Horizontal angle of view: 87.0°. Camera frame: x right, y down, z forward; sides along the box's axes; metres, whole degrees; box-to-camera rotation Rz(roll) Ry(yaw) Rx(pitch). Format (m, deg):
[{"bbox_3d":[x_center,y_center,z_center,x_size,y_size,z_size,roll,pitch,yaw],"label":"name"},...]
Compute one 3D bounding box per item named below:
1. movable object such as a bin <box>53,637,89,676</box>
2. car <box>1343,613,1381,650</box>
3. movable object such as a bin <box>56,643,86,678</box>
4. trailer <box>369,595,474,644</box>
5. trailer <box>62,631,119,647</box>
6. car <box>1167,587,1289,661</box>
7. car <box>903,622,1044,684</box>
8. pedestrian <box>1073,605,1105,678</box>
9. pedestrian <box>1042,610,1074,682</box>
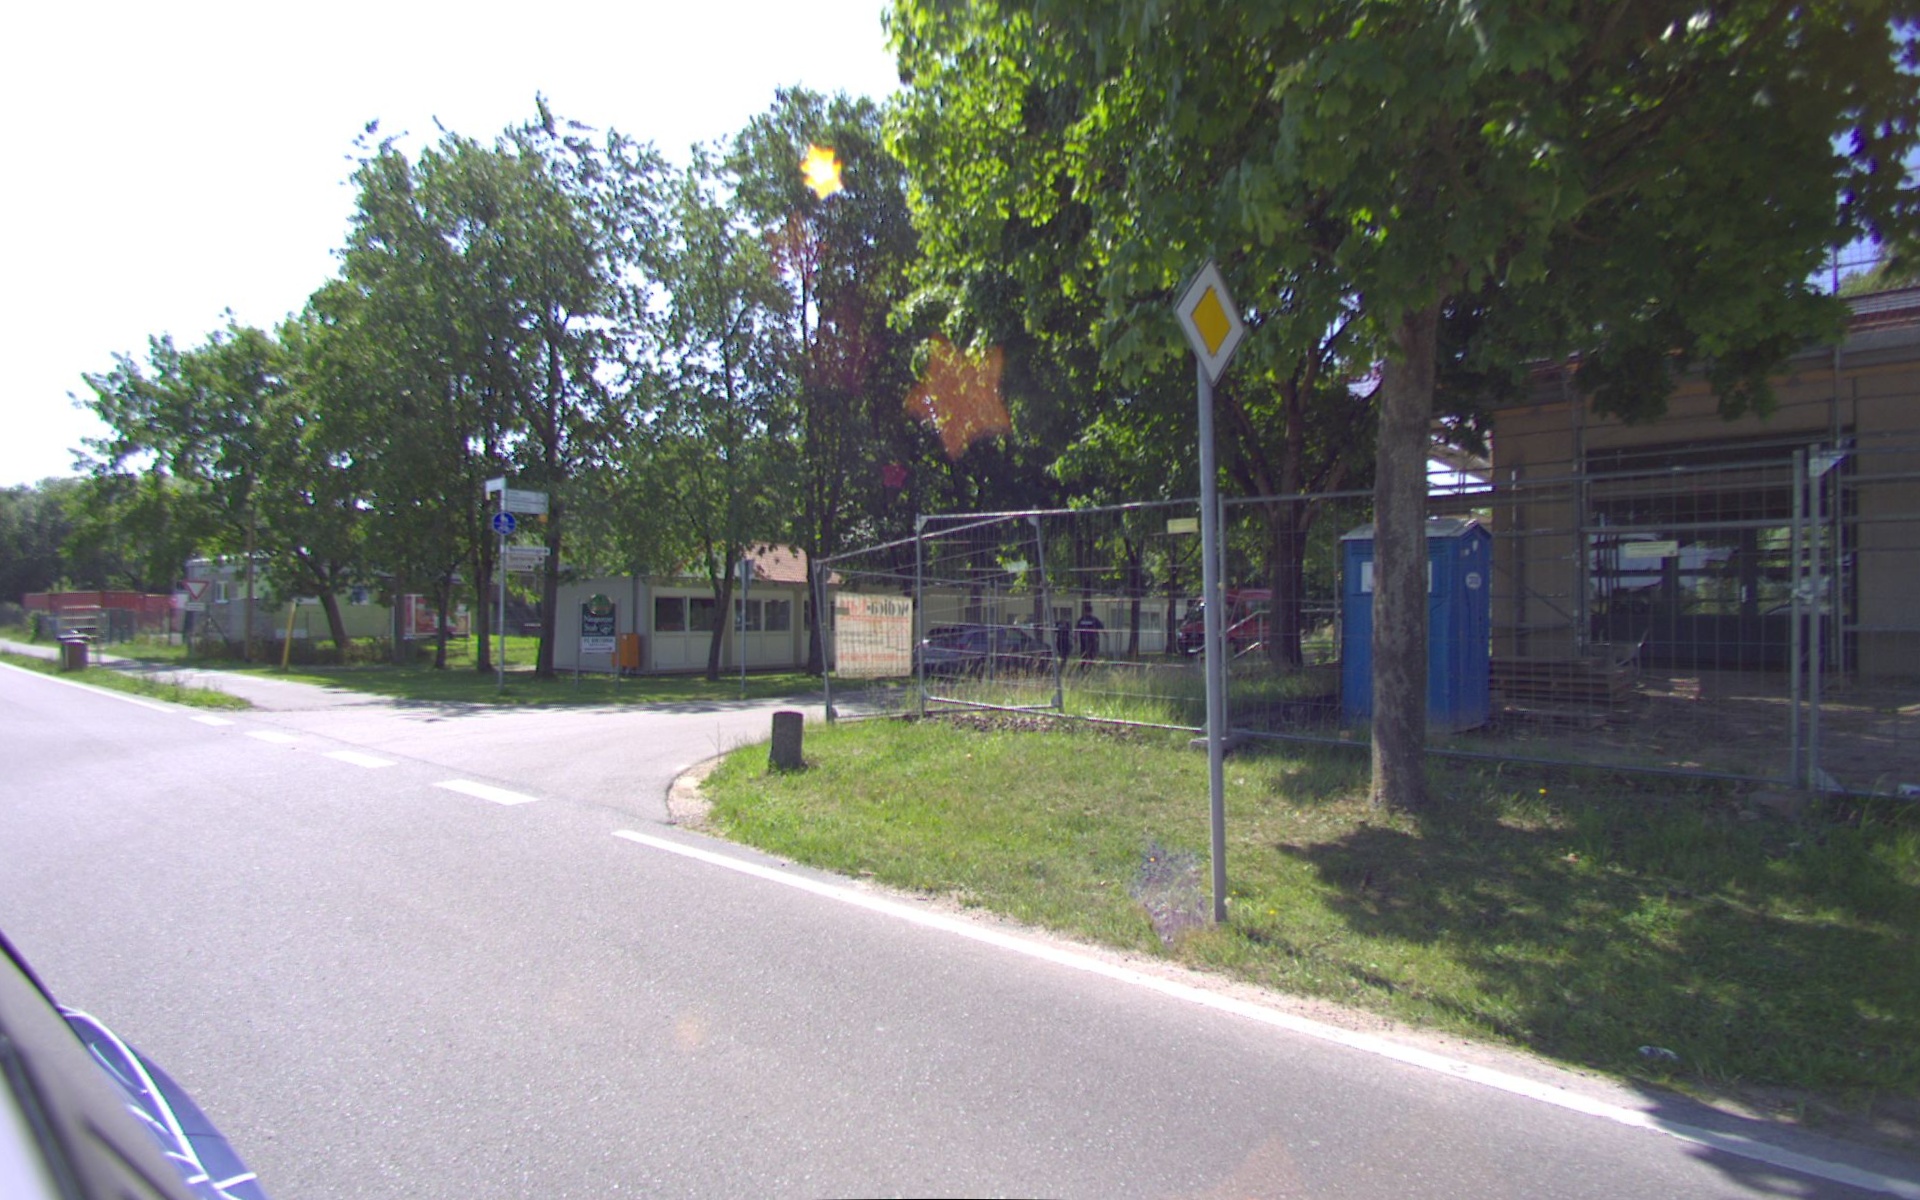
[{"bbox_3d":[-23.996,1.521,27.342,0.690,1.032,0.749,2,-2,-40],"label":"movable object such as a bin"},{"bbox_3d":[19.729,1.547,49.726,1.655,1.763,3.722,-1,-2,22],"label":"car"},{"bbox_3d":[-23.461,1.586,26.719,0.555,0.883,0.614,2,-2,-40],"label":"movable object such as a bin"},{"bbox_3d":[-26.042,0.978,49.097,1.820,2.295,4.196,-1,-2,28],"label":"trailer"},{"bbox_3d":[-47.292,2.112,55.019,3.351,0.873,1.616,-1,-2,36],"label":"trailer"},{"bbox_3d":[10.282,0.938,38.452,2.120,2.597,5.996,-1,-2,40],"label":"car"},{"bbox_3d":[0.406,1.270,25.233,1.755,1.410,3.768,-1,-2,34],"label":"car"},{"bbox_3d":[3.185,1.010,24.906,0.585,1.764,0.598,-1,-2,32],"label":"pedestrian"},{"bbox_3d":[2.456,1.140,25.377,0.585,1.764,0.598,-1,-2,32],"label":"pedestrian"}]
